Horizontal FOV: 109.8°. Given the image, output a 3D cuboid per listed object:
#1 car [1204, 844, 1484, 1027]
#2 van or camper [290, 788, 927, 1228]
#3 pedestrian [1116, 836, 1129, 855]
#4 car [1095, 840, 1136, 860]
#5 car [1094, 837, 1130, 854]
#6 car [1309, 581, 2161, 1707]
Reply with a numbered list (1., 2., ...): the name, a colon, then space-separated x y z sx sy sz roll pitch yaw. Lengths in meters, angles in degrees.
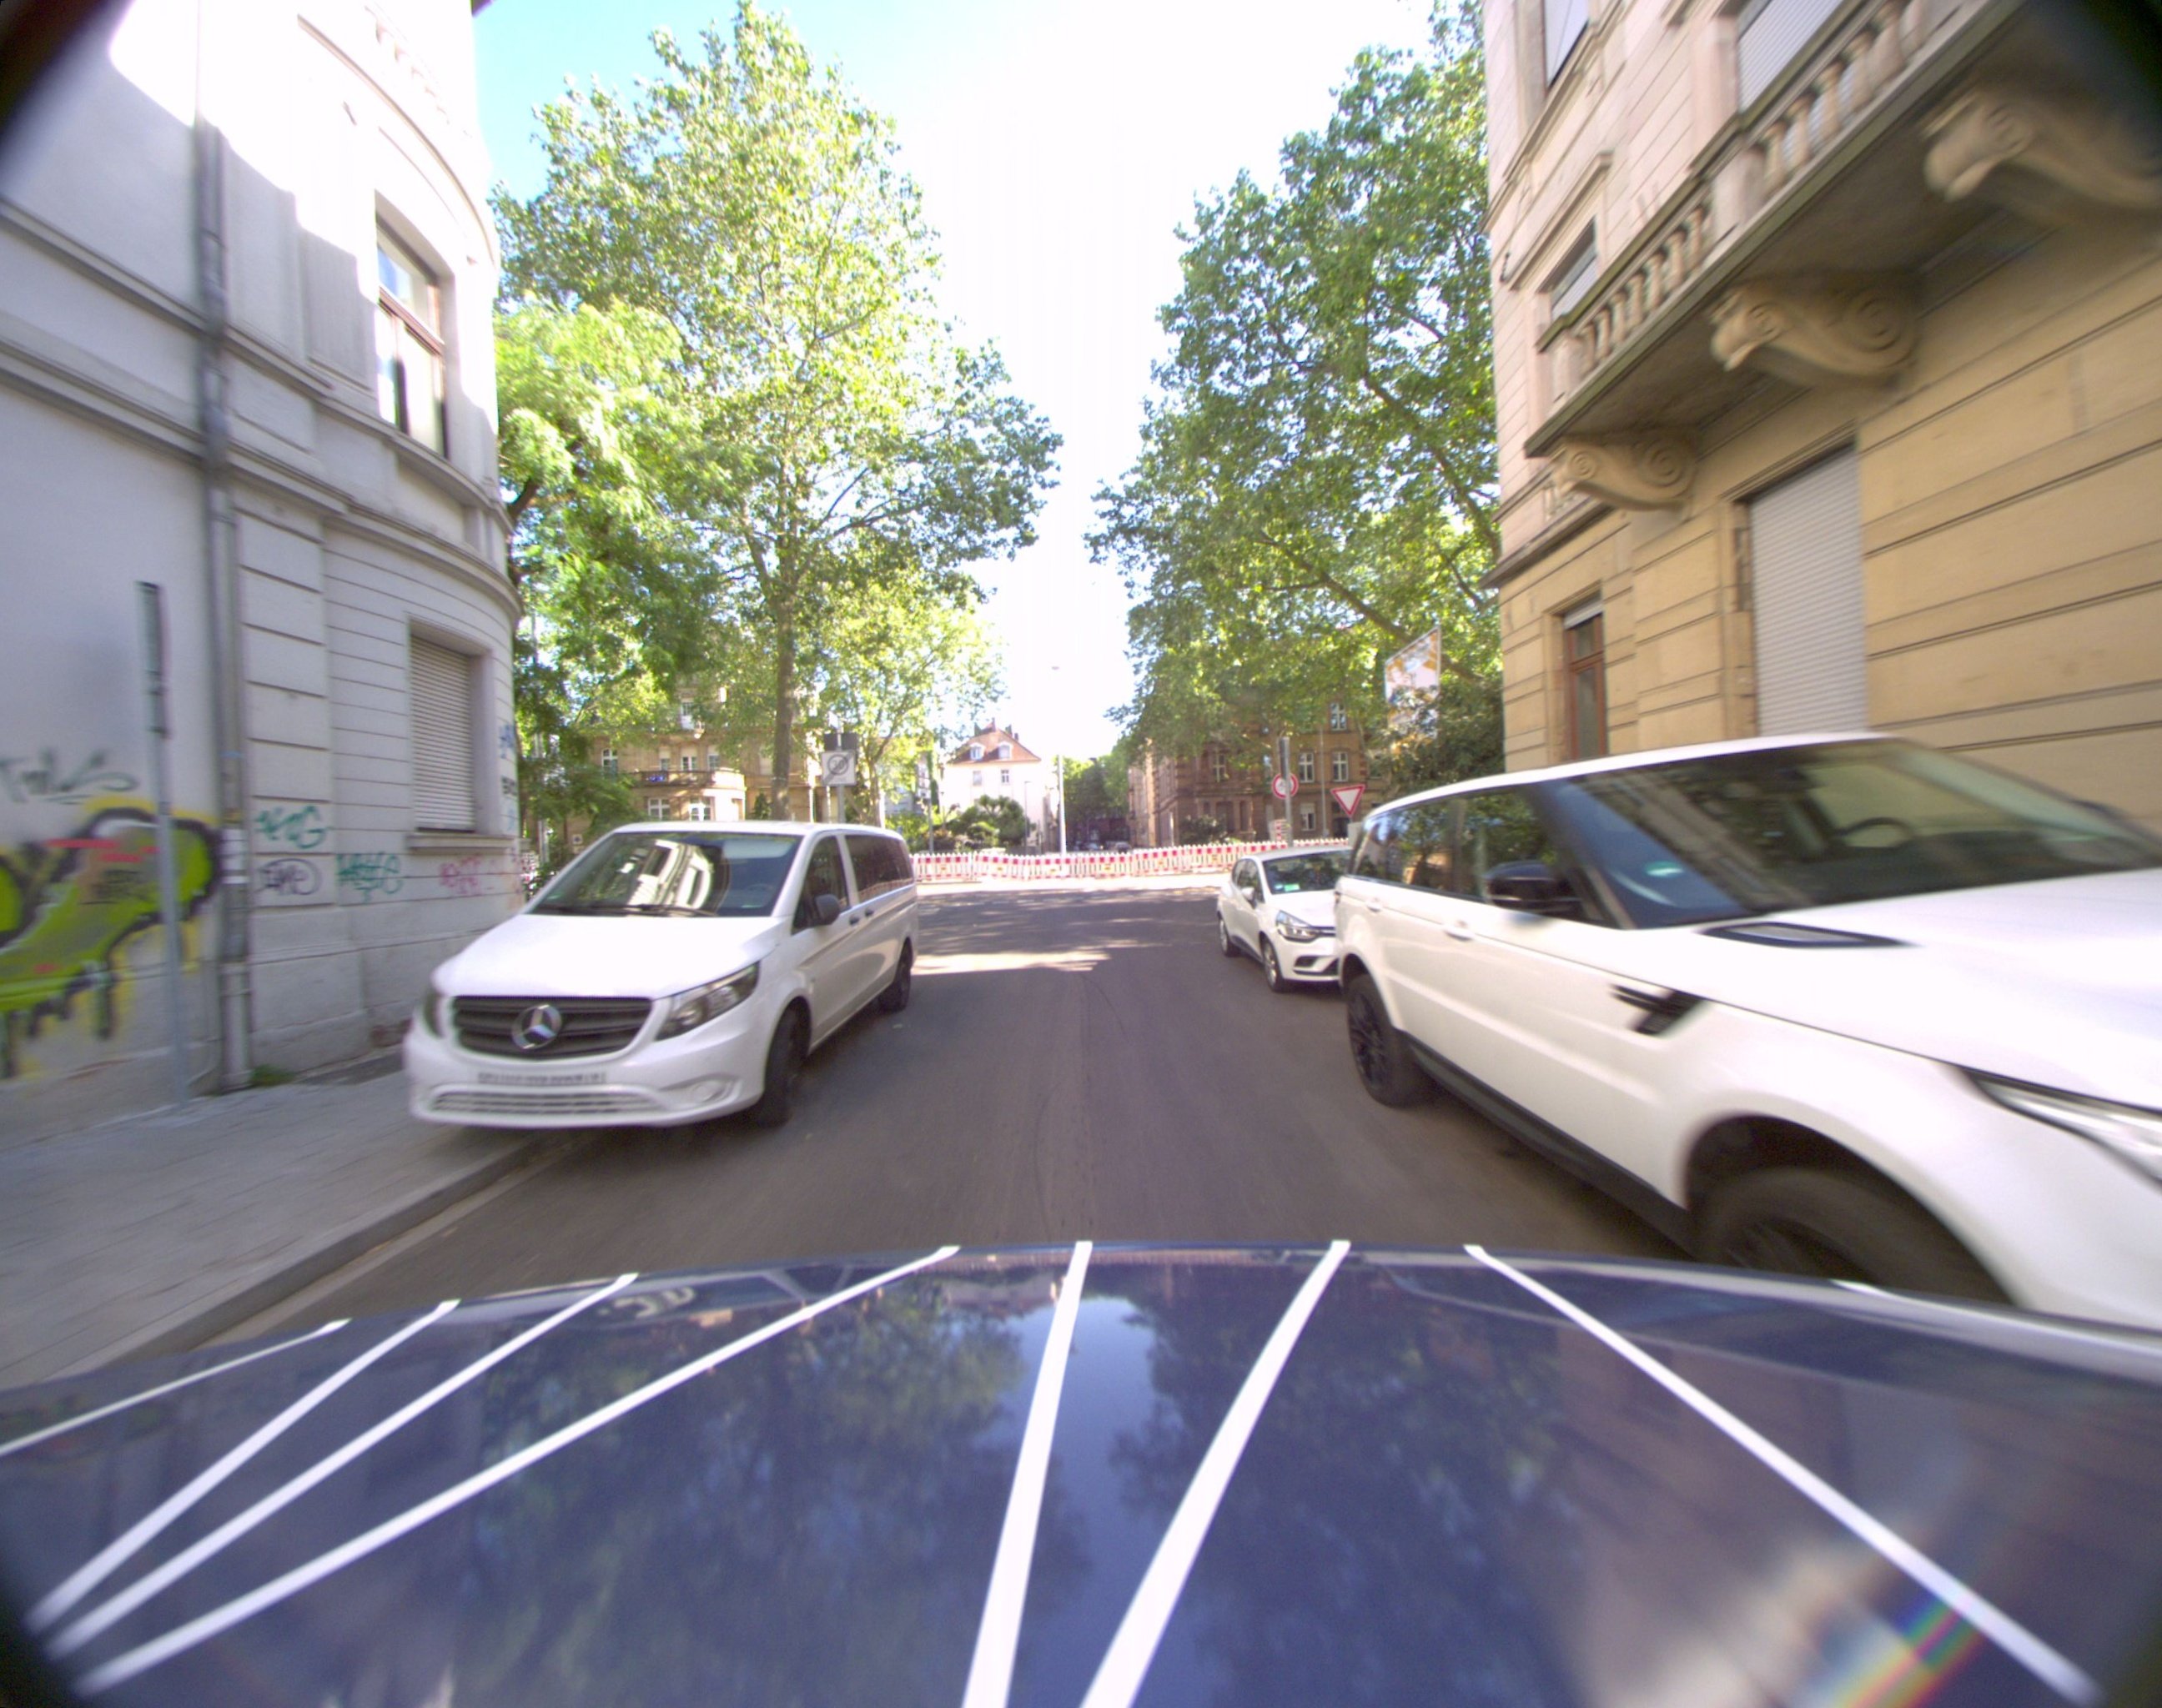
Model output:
1. car: 2.779 0.735 9.063 1.871 1.552 3.941 -4 1 0
2. van or camper: -2.719 0.719 6.086 1.899 2.002 5.030 -2 0 0
3. pedestrian: 3.663 -0.740 66.810 0.761 1.651 0.826 -3 1 -26
4. car: 3.241 -0.340 72.079 3.800 1.726 1.623 -2 1 1
5. car: 3.372 -0.884 82.494 3.800 1.726 1.623 -2 1 1
6. car: 2.514 0.582 2.811 2.027 2.002 4.543 -2 1 2
